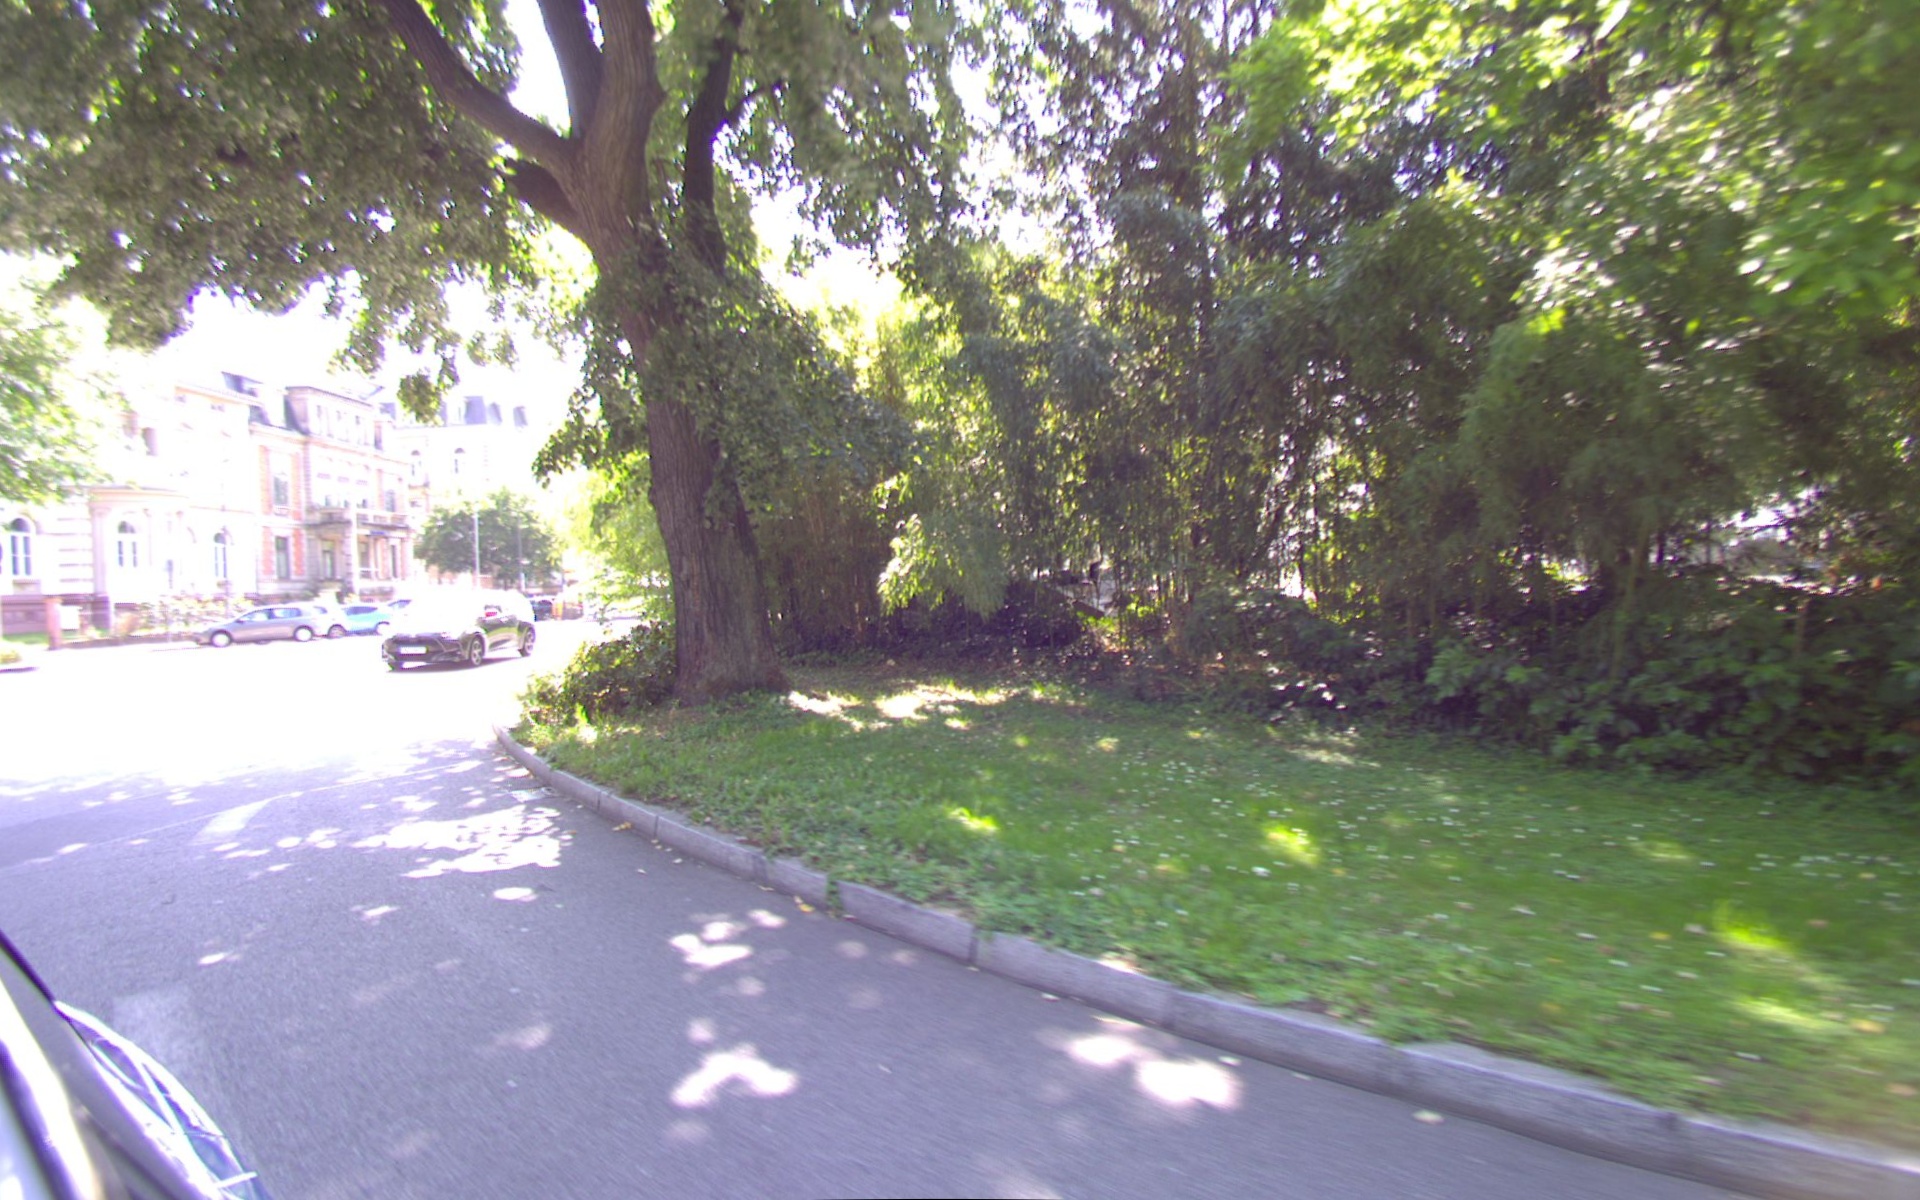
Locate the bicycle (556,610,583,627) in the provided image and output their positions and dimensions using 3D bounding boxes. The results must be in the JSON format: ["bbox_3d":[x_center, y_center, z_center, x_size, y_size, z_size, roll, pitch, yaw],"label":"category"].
[{"bbox_3d":[-22.114,1.028,57.314,0.587,0.861,1.739,-2,0,9],"label":"bicycle"}]

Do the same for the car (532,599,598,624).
[{"bbox_3d":[-25.871,0.766,66.322,3.640,1.429,1.753,-3,1,-36],"label":"car"}]

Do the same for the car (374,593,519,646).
[{"bbox_3d":[-16.190,0.572,32.173,1.774,1.523,4.263,-1,1,13],"label":"car"}]

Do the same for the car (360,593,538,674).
[{"bbox_3d":[-10.454,0.609,21.100,1.765,1.462,4.284,-1,1,-4],"label":"car"}]

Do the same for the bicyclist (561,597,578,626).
[{"bbox_3d":[-22.115,0.667,57.346,0.587,1.618,0.682,-2,0,10],"label":"bicyclist"}]

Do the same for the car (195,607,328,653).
[{"bbox_3d":[-26.547,1.111,38.566,4.040,1.472,1.832,-3,1,-36],"label":"car"}]

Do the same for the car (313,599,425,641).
[{"bbox_3d":[-27.611,0.921,47.334,4.210,1.709,1.715,-3,1,-43],"label":"car"}]

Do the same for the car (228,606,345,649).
[{"bbox_3d":[-27.229,1.087,40.986,3.752,1.523,1.717,-3,1,-40],"label":"car"}]

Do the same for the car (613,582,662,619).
[{"bbox_3d":[-23.875,0.019,75.207,1.971,2.623,5.320,-3,0,-1],"label":"car"}]

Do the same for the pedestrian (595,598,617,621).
[{"bbox_3d":[-19.339,0.530,55.305,1.005,1.206,0.793,-2,0,-10],"label":"pedestrian"}]

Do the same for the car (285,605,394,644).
[{"bbox_3d":[-27.022,1.056,44.143,3.754,1.453,1.715,-3,1,-43],"label":"car"}]
